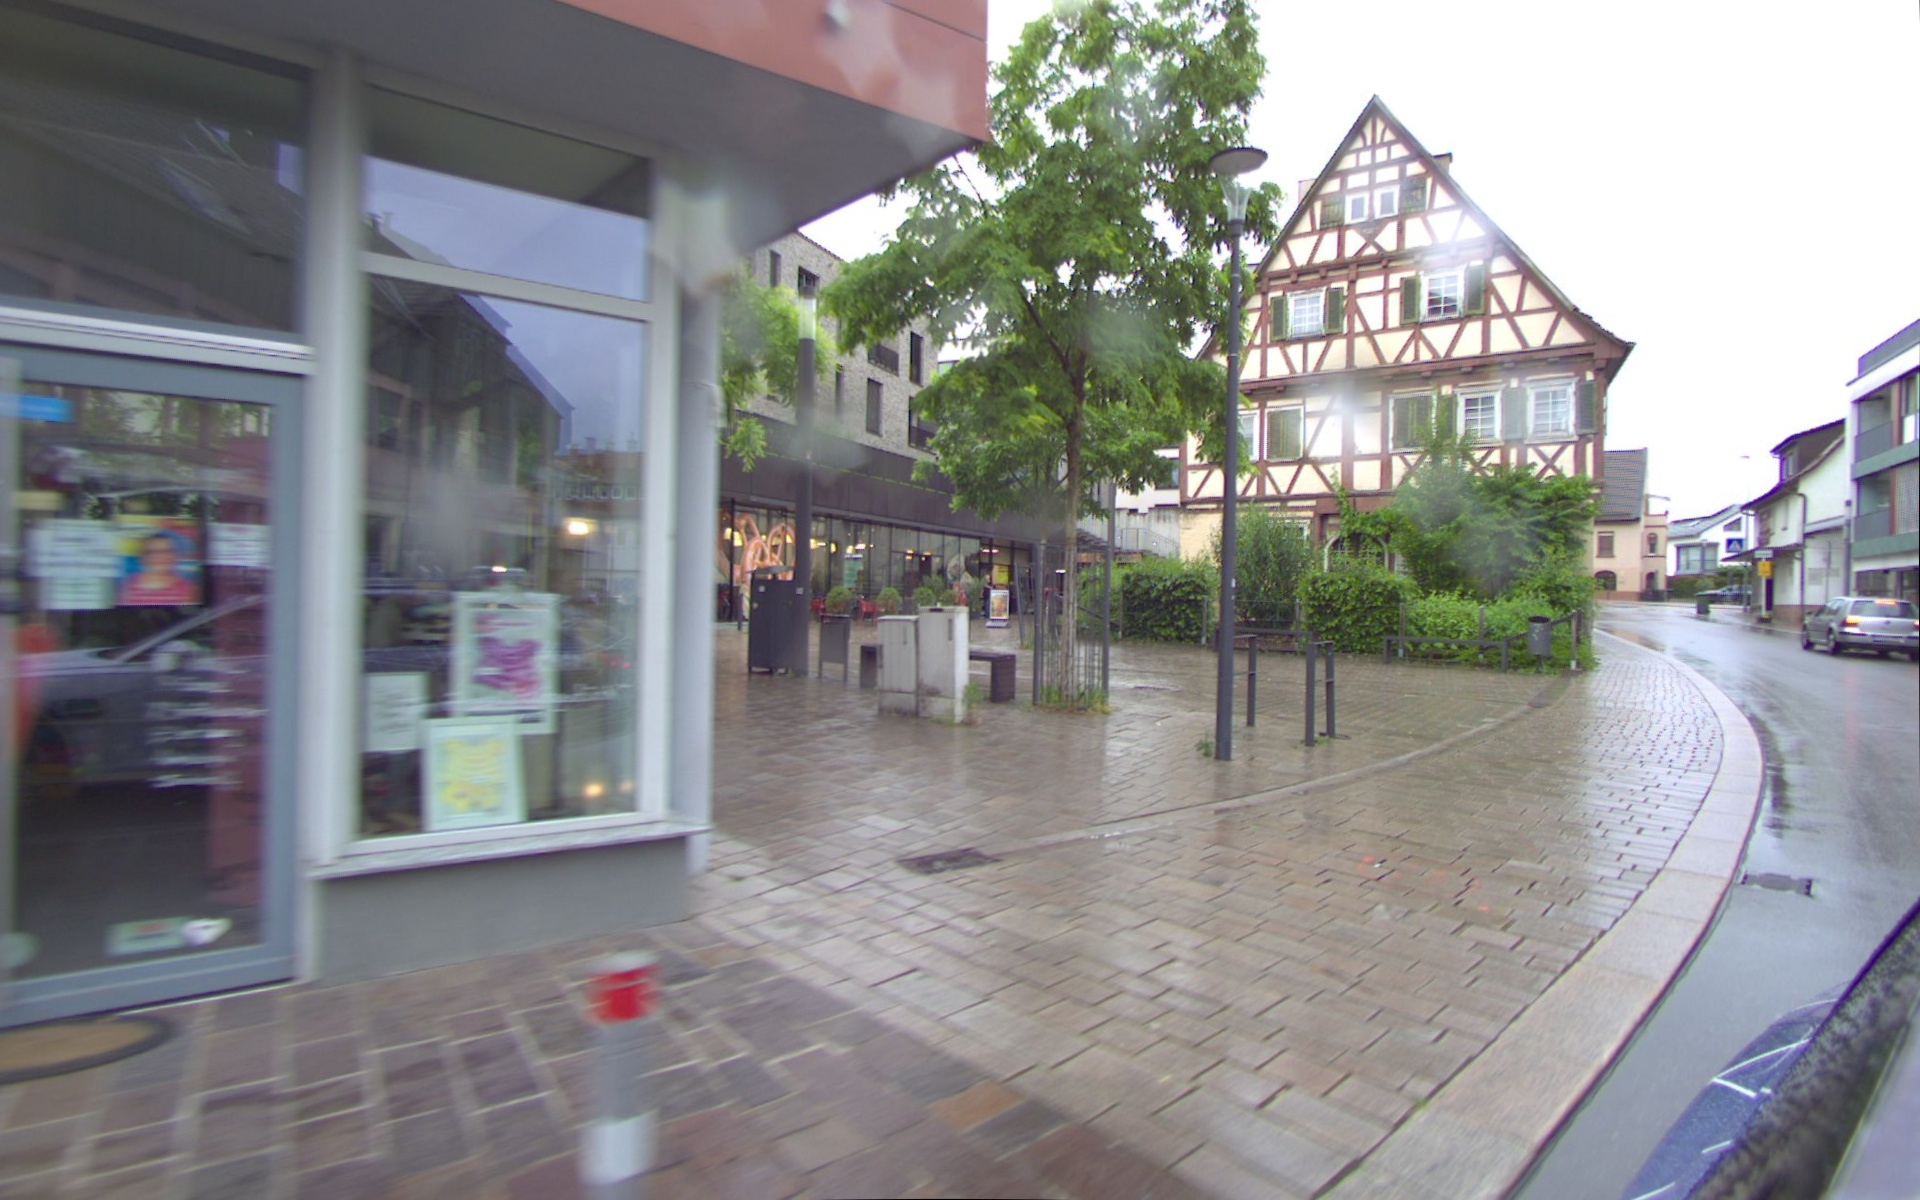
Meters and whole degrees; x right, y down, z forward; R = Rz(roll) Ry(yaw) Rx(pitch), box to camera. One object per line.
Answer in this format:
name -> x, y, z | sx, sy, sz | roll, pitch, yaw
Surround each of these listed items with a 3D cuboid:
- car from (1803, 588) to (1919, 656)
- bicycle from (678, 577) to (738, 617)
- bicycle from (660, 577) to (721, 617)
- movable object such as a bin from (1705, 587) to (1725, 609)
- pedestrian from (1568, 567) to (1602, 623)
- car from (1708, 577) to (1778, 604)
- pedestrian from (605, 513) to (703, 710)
car -> 22.018, 0.482, 24.352 | 1.780, 1.434, 3.990 | 4, 3, 28
bicycle -> -6.900, -0.095, 27.644 | 1.690, 0.981, 0.444 | 4, 2, 27
bicycle -> -7.238, -0.087, 27.124 | 1.690, 0.981, 0.444 | 4, 2, 27
movable object such as a bin -> 39.609, -0.120, 53.097 | 0.682, 1.094, 0.754 | -1, 1, 26
pedestrian -> 21.717, -0.180, 35.158 | 0.804, 1.908, 0.900 | 3, 2, 25
car -> 66.468, -0.833, 85.940 | 4.477, 2.038, 1.968 | 5, 3, 45
pedestrian -> -2.982, 0.092, 9.839 | 0.694, 1.806, 0.849 | 1, 2, -29
